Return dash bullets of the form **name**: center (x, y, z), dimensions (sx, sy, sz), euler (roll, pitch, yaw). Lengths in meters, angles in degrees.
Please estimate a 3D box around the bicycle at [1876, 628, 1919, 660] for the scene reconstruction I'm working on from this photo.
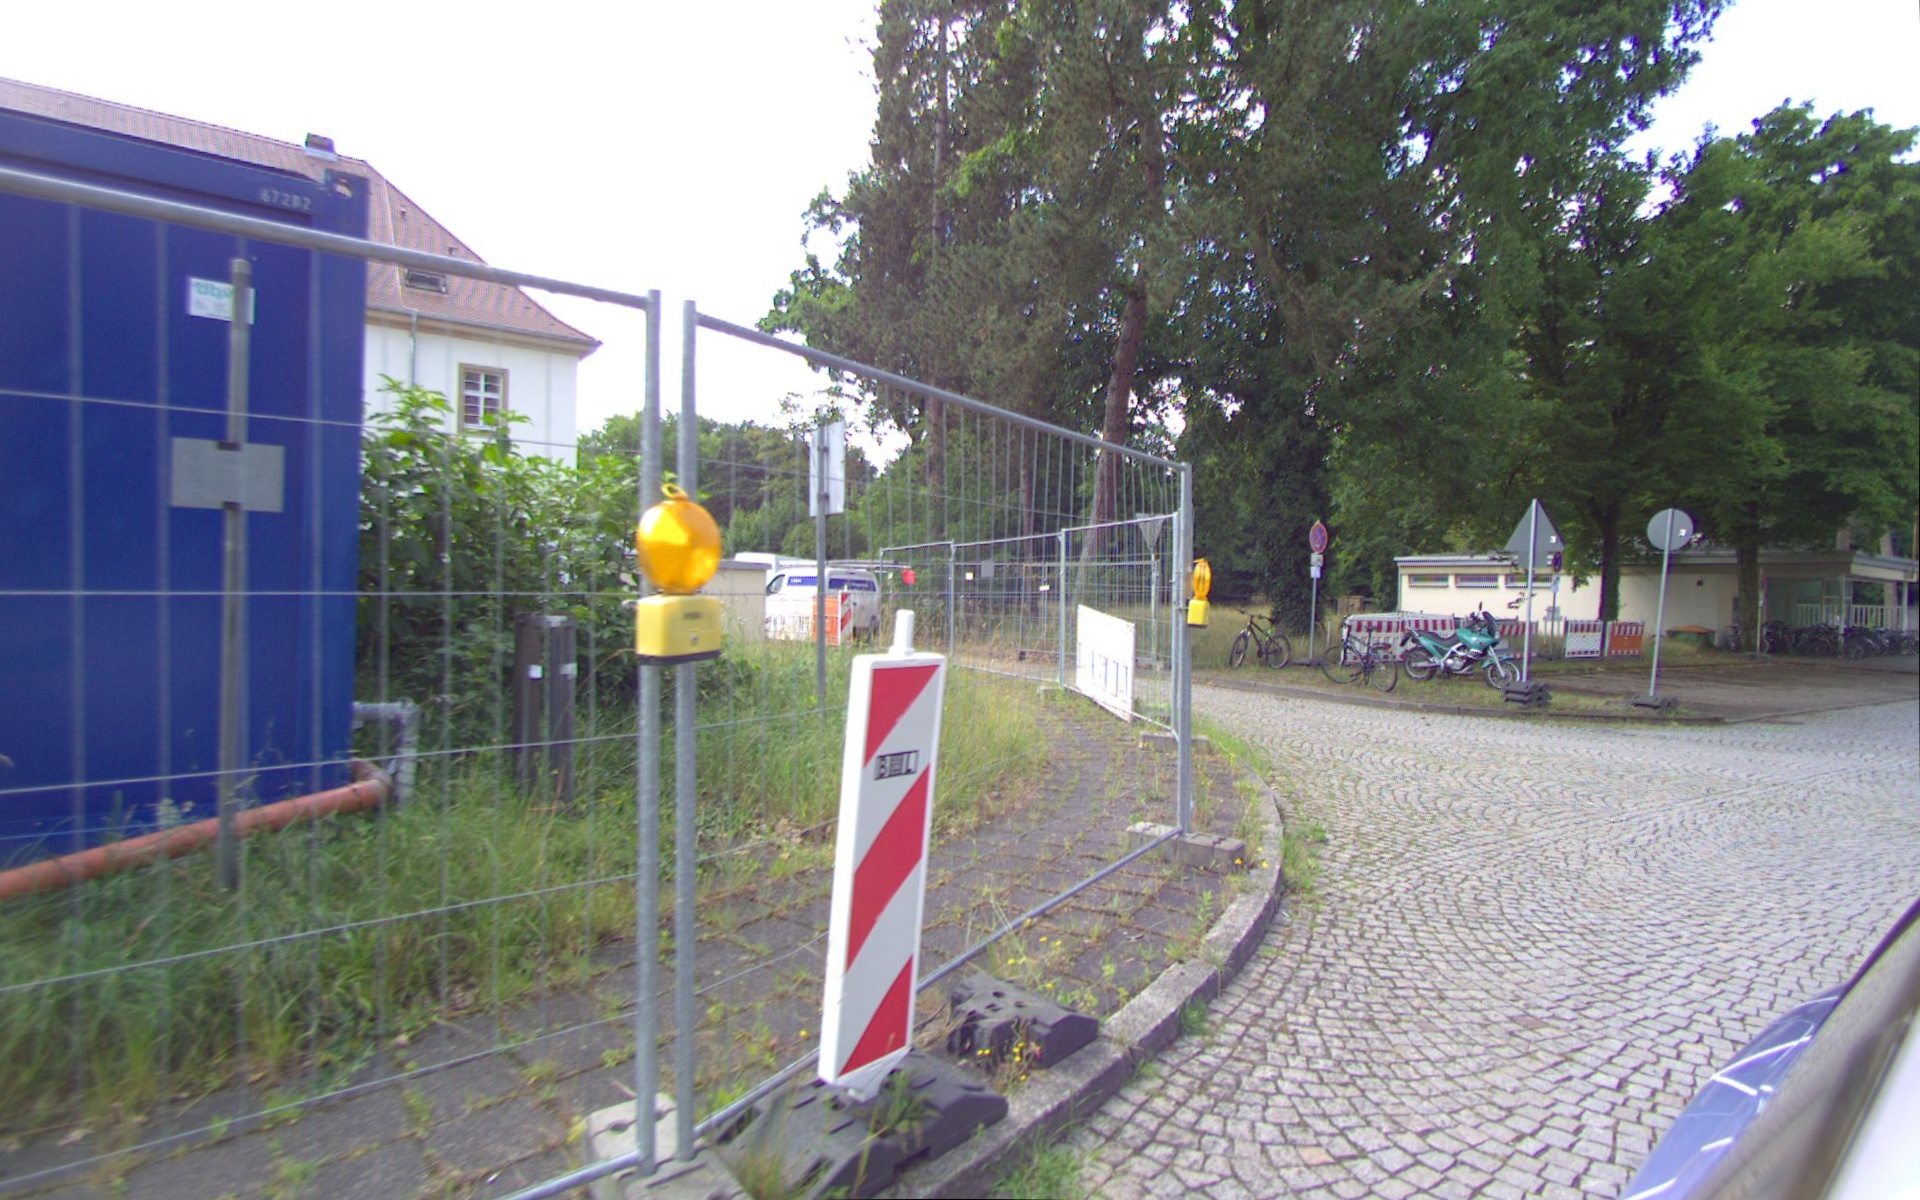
- **bicycle**: center (37.632, 1.752, 40.327), dimensions (0.320, 1.155, 1.615), euler (2, 1, -43)

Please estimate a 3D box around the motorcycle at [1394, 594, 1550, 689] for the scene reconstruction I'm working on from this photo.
- **motorcycle**: center (8.860, 0.674, 17.606), dimensions (0.743, 1.504, 2.281), euler (2, 0, -40)

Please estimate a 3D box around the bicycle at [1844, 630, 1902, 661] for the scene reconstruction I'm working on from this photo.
- **bicycle**: center (35.368, 1.754, 39.230), dimensions (1.628, 1.063, 0.329), euler (3, 1, 40)

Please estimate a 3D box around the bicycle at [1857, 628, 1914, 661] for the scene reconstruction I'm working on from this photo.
- **bicycle**: center (36.278, 1.731, 39.692), dimensions (0.320, 1.155, 1.593), euler (2, 1, -43)

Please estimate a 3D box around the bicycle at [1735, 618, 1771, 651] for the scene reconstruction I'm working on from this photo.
- **bicycle**: center (28.473, 1.223, 36.330), dimensions (1.605, 1.131, 0.598), euler (2, 1, -38)

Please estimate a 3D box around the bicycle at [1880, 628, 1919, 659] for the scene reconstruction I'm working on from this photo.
- **bicycle**: center (38.452, 1.776, 41.062), dimensions (0.350, 1.155, 1.615), euler (2, 1, -43)

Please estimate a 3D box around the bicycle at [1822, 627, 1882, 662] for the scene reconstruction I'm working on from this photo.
- **bicycle**: center (33.285, 1.648, 37.777), dimensions (1.628, 1.205, 0.466), euler (3, 1, 41)

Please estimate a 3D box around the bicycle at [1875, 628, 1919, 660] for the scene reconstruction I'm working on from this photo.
- **bicycle**: center (37.916, 1.769, 40.710), dimensions (0.350, 1.155, 1.615), euler (2, 1, -43)

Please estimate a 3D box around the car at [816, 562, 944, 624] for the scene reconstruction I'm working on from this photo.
- **car**: center (-2.487, -0.156, 32.856), dimensions (1.980, 1.848, 4.828), euler (-1, -1, 27)

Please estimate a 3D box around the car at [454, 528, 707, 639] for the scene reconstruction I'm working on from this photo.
- **car**: center (-9.671, -0.335, 26.089), dimensions (5.796, 2.589, 2.000), euler (1, -2, -34)

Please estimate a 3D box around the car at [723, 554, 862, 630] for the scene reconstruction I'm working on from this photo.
- **car**: center (-6.099, -0.205, 37.820), dimensions (1.978, 2.611, 6.368), euler (-1, -1, 24)

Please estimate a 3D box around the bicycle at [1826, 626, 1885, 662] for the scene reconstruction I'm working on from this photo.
- **bicycle**: center (33.719, 1.642, 38.116), dimensions (1.629, 1.205, 0.413), euler (3, 1, 42)

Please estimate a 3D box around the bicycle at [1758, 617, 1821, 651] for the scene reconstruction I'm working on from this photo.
- **bicycle**: center (31.664, 1.305, 38.658), dimensions (0.597, 1.179, 1.744), euler (2, 1, -40)

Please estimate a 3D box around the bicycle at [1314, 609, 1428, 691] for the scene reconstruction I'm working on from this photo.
- **bicycle**: center (6.648, 0.778, 16.497), dimensions (0.642, 1.212, 1.909), euler (2, 0, -17)

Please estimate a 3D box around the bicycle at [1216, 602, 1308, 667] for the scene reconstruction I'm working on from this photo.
- **bicycle**: center (5.839, 0.669, 19.508), dimensions (1.868, 1.184, 0.644), euler (3, -1, -34)

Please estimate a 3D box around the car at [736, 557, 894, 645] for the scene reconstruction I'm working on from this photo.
- **car**: center (-3.717, 0.031, 25.181), dimensions (1.870, 1.945, 4.875), euler (3, -1, -35)

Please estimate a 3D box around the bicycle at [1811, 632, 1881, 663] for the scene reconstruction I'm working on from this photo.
- **bicycle**: center (32.240, 1.732, 36.837), dimensions (1.728, 0.988, 0.752), euler (3, 1, 24)

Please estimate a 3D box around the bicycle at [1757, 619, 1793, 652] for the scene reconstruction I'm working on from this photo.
- **bicycle**: center (28.854, 1.259, 35.815), dimensions (1.605, 1.131, 0.598), euler (2, 1, -38)

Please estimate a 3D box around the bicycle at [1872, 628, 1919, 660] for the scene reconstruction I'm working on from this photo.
- **bicycle**: center (37.296, 1.748, 40.147), dimensions (0.320, 1.155, 1.615), euler (2, 1, -43)

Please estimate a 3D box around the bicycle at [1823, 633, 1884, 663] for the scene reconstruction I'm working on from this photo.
- **bicycle**: center (32.886, 1.744, 37.271), dimensions (1.618, 0.988, 0.320), euler (3, 1, 25)

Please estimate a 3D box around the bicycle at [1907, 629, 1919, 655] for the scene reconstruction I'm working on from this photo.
- **bicycle**: center (39.676, 1.744, 41.326), dimensions (1.393, 1.059, 0.336), euler (1, -1, 28)

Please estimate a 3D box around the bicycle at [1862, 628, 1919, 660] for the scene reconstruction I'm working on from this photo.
- **bicycle**: center (36.828, 1.738, 40.055), dimensions (0.320, 1.155, 1.615), euler (2, 1, -43)

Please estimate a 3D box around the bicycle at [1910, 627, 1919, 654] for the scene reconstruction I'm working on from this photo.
- **bicycle**: center (39.303, 1.658, 41.002), dimensions (1.145, 1.076, 0.283), euler (1, -1, 34)

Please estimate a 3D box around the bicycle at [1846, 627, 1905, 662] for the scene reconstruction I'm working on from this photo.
- **bicycle**: center (35.006, 1.687, 38.703), dimensions (1.629, 1.205, 0.491), euler (3, 1, 42)

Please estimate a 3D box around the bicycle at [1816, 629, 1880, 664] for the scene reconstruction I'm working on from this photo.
- **bicycle**: center (31.675, 1.636, 36.137), dimensions (1.675, 1.122, 0.333), euler (3, 1, 41)

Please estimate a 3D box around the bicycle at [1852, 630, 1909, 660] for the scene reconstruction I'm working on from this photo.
- **bicycle**: center (35.877, 1.751, 39.442), dimensions (0.320, 1.063, 1.593), euler (2, 1, -43)

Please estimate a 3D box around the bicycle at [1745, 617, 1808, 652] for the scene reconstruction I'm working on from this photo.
- **bicycle**: center (30.776, 1.294, 38.167), dimensions (0.597, 1.179, 1.744), euler (2, 1, -40)

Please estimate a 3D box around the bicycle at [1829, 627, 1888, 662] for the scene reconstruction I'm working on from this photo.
- **bicycle**: center (34.170, 1.683, 38.515), dimensions (1.629, 1.205, 0.413), euler (3, 1, 42)
